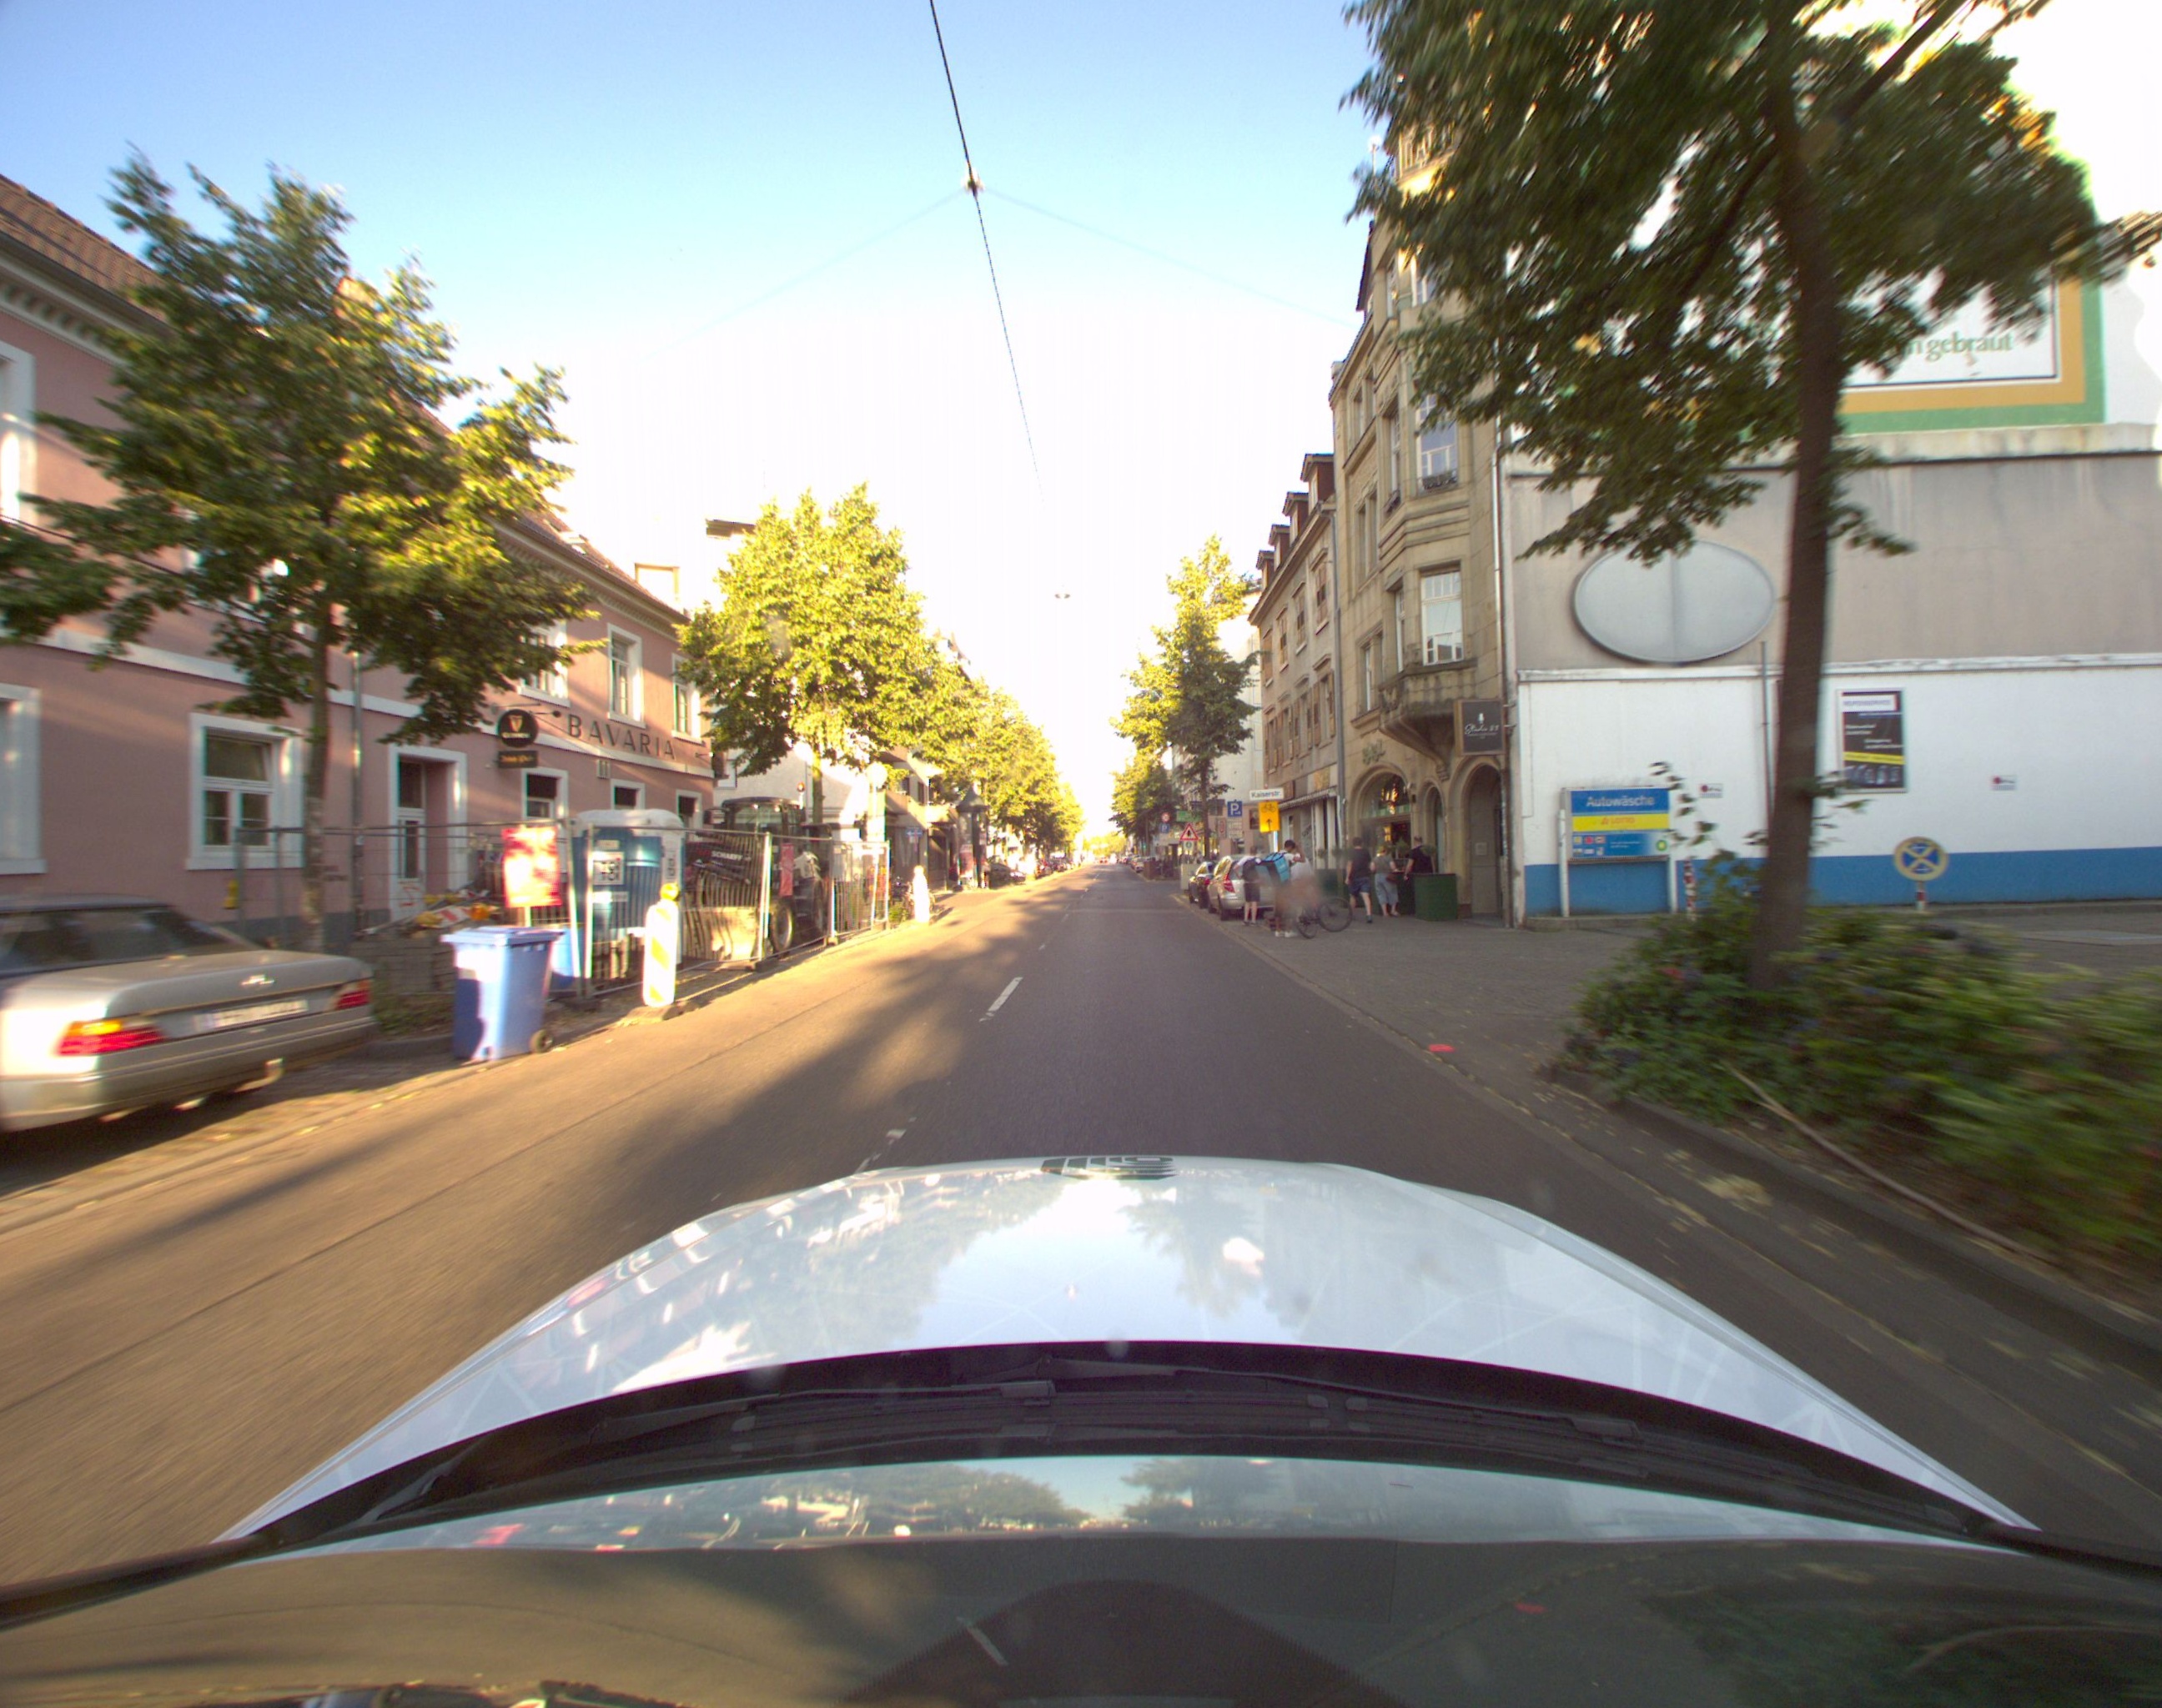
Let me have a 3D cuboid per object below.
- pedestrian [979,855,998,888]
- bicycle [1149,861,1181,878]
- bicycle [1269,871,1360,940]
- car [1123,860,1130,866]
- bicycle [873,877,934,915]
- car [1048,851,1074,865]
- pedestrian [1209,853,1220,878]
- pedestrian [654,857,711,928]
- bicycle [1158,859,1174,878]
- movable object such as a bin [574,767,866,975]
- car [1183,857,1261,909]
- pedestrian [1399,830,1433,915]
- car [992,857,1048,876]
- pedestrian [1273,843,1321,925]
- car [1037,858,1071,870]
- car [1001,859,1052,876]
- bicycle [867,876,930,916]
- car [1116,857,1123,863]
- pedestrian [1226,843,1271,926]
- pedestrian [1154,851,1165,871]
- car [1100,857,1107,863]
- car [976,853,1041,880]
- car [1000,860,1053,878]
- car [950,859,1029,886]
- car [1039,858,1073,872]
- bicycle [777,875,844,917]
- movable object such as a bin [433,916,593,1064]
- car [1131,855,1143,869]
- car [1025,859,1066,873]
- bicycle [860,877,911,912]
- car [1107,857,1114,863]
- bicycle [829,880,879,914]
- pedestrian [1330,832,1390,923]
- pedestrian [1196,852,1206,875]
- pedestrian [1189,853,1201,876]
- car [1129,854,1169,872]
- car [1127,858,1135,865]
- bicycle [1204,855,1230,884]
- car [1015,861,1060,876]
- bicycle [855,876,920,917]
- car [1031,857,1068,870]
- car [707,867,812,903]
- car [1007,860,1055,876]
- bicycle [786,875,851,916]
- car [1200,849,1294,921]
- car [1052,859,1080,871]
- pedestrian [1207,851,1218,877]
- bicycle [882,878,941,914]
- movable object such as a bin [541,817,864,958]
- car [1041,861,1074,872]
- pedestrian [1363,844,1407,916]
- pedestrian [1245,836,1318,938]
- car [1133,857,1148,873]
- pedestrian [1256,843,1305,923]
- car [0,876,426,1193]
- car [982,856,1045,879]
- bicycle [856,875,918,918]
[{"bbox_3d":[-4.757,0.888,41.781,0.706,1.686,0.836,-1,0,11],"label":"pedestrian"},{"bbox_3d":[5.481,0.987,52.927,1.935,1.074,0.710,-1,0,33],"label":"bicycle"},{"bbox_3d":[4.432,0.943,15.376,0.856,1.099,1.939,-3,0,41],"label":"bicycle"},{"bbox_3d":[9.863,2.034,175.290,1.507,1.263,3.306,-1,-1,3],"label":"car"},{"bbox_3d":[-5.253,1.231,24.113,1.672,1.079,0.445,1,-2,9],"label":"bicycle"},{"bbox_3d":[-3.604,0.789,145.137,4.424,2.435,1.920,-1,-1,2],"label":"car"},{"bbox_3d":[8.500,0.718,52.011,0.565,1.584,0.664,-3,1,2],"label":"pedestrian"},{"bbox_3d":[-10.299,0.978,21.071,0.809,1.766,1.045,-1,0,21],"label":"pedestrian"},{"bbox_3d":[5.682,0.966,54.384,0.592,1.178,1.856,-1,0,21],"label":"bicycle"},{"bbox_3d":[-5.942,0.259,14.457,2.615,2.969,5.305,-1,0,2],"label":"movable object such as a bin"},{"bbox_3d":[4.370,0.854,25.859,1.778,1.375,4.525,-4,0,2],"label":"car"},{"bbox_3d":[7.540,0.406,18.326,0.460,1.875,0.499,-2,0,-13],"label":"pedestrian"},{"bbox_3d":[-5.001,1.010,67.181,4.424,1.506,1.846,0,-1,2],"label":"car"},{"bbox_3d":[4.682,0.643,17.659,0.657,1.700,0.660,-3,-1,-42],"label":"pedestrian"},{"bbox_3d":[-3.443,1.299,105.539,4.286,1.598,1.920,0,-1,2],"label":"car"},{"bbox_3d":[-4.923,1.238,74.057,4.424,1.458,1.860,0,-1,2],"label":"car"},{"bbox_3d":[-5.265,1.203,23.522,1.672,1.079,0.445,1,-2,9],"label":"bicycle"},{"bbox_3d":[9.912,1.598,209.633,1.745,1.540,3.306,-2,-1,3],"label":"car"},{"bbox_3d":[3.658,0.660,17.878,0.677,1.754,0.823,-2,-1,-8],"label":"pedestrian"},{"bbox_3d":[7.917,0.697,81.811,0.916,1.926,1.015,0,-1,-8],"label":"pedestrian"},{"bbox_3d":[6.007,1.657,217.350,1.745,1.540,3.306,-2,-1,3],"label":"car"},{"bbox_3d":[-5.259,0.901,59.471,4.554,1.962,1.991,0,-1,1],"label":"car"},{"bbox_3d":[-4.794,1.331,71.744,4.424,1.484,1.810,0,-1,2],"label":"car"},{"bbox_3d":[-5.448,1.115,48.997,4.530,1.541,1.811,0,-1,0],"label":"car"},{"bbox_3d":[-3.282,1.492,107.636,4.424,1.759,1.920,0,-1,2],"label":"car"},{"bbox_3d":[-7.395,1.146,22.291,1.674,1.149,0.445,0,-2,5],"label":"bicycle"},{"bbox_3d":[-4.825,1.124,6.974,0.687,1.105,0.884,-2,0,4],"label":"movable object such as a bin"},{"bbox_3d":[7.495,1.116,109.737,1.507,1.864,4.238,-1,-1,3],"label":"car"},{"bbox_3d":[-3.935,1.333,90.265,4.424,1.449,1.920,0,-1,2],"label":"car"},{"bbox_3d":[-6.091,1.251,25.417,1.484,1.059,0.470,0,-2,-5],"label":"bicycle"},{"bbox_3d":[7.716,1.625,211.794,1.714,1.475,3.306,-2,-1,3],"label":"car"},{"bbox_3d":[-6.687,1.263,24.007,1.318,0.980,0.445,0,-2,5],"label":"bicycle"},{"bbox_3d":[6.020,0.489,17.641,0.820,1.854,1.097,-4,0,0],"label":"pedestrian"},{"bbox_3d":[8.802,0.697,59.728,0.626,1.680,0.895,-1,0,13],"label":"pedestrian"},{"bbox_3d":[8.256,0.783,58.955,0.791,1.625,0.915,-1,0,14],"label":"pedestrian"},{"bbox_3d":[6.499,0.852,77.655,1.654,1.588,3.846,-1,0,45],"label":"car"},{"bbox_3d":[9.644,1.525,157.287,1.507,1.276,3.306,-1,-1,3],"label":"car"},{"bbox_3d":[5.569,0.642,33.470,0.775,1.112,1.900,-3,-1,2],"label":"bicycle"},{"bbox_3d":[-4.461,1.489,83.669,4.424,1.568,1.920,0,-1,2],"label":"car"},{"bbox_3d":[-5.445,1.189,22.935,1.676,1.079,0.444,1,-2,1],"label":"bicycle"},{"bbox_3d":[-3.859,1.174,101.149,4.424,1.523,1.920,0,-1,2],"label":"car"},{"bbox_3d":[-14.158,1.334,36.042,4.211,1.380,1.986,-1,-1,-21],"label":"car"},{"bbox_3d":[-4.794,1.349,79.043,4.424,1.568,1.920,0,-1,2],"label":"car"},{"bbox_3d":[-7.397,1.157,22.953,1.674,1.149,0.445,0,-2,5],"label":"bicycle"},{"bbox_3d":[4.218,0.737,21.232,1.680,1.575,4.015,-4,0,2],"label":"car"},{"bbox_3d":[-2.441,1.802,134.914,4.424,1.959,1.920,-1,-1,2],"label":"car"},{"bbox_3d":[8.515,0.644,52.775,0.565,1.599,0.664,-3,1,2],"label":"pedestrian"},{"bbox_3d":[-5.153,1.272,24.829,1.672,1.021,0.445,1,-2,9],"label":"bicycle"},{"bbox_3d":[-7.823,0.583,17.352,5.788,2.495,2.285,-1,-1,-45],"label":"movable object such as a bin"},{"bbox_3d":[-3.178,1.718,110.753,4.424,1.499,1.920,0,-1,2],"label":"car"},{"bbox_3d":[6.915,0.585,18.542,0.656,1.562,0.702,-4,0,2],"label":"pedestrian"},{"bbox_3d":[3.786,0.609,15.446,1.013,1.825,0.778,-4,-1,-8],"label":"pedestrian"},{"bbox_3d":[6.240,1.157,85.726,1.507,1.578,3.221,-1,-1,3],"label":"car"},{"bbox_3d":[4.496,0.644,18.380,0.678,1.706,0.822,-4,-1,-13],"label":"pedestrian"},{"bbox_3d":[-7.030,0.909,5.017,4.573,1.470,1.895,-1,0,4],"label":"car"},{"bbox_3d":[-5.097,1.019,62.097,4.553,1.698,2.061,0,-1,2],"label":"car"},{"bbox_3d":[-5.233,1.151,22.038,1.554,1.116,0.440,2,-2,-31],"label":"bicycle"}]
